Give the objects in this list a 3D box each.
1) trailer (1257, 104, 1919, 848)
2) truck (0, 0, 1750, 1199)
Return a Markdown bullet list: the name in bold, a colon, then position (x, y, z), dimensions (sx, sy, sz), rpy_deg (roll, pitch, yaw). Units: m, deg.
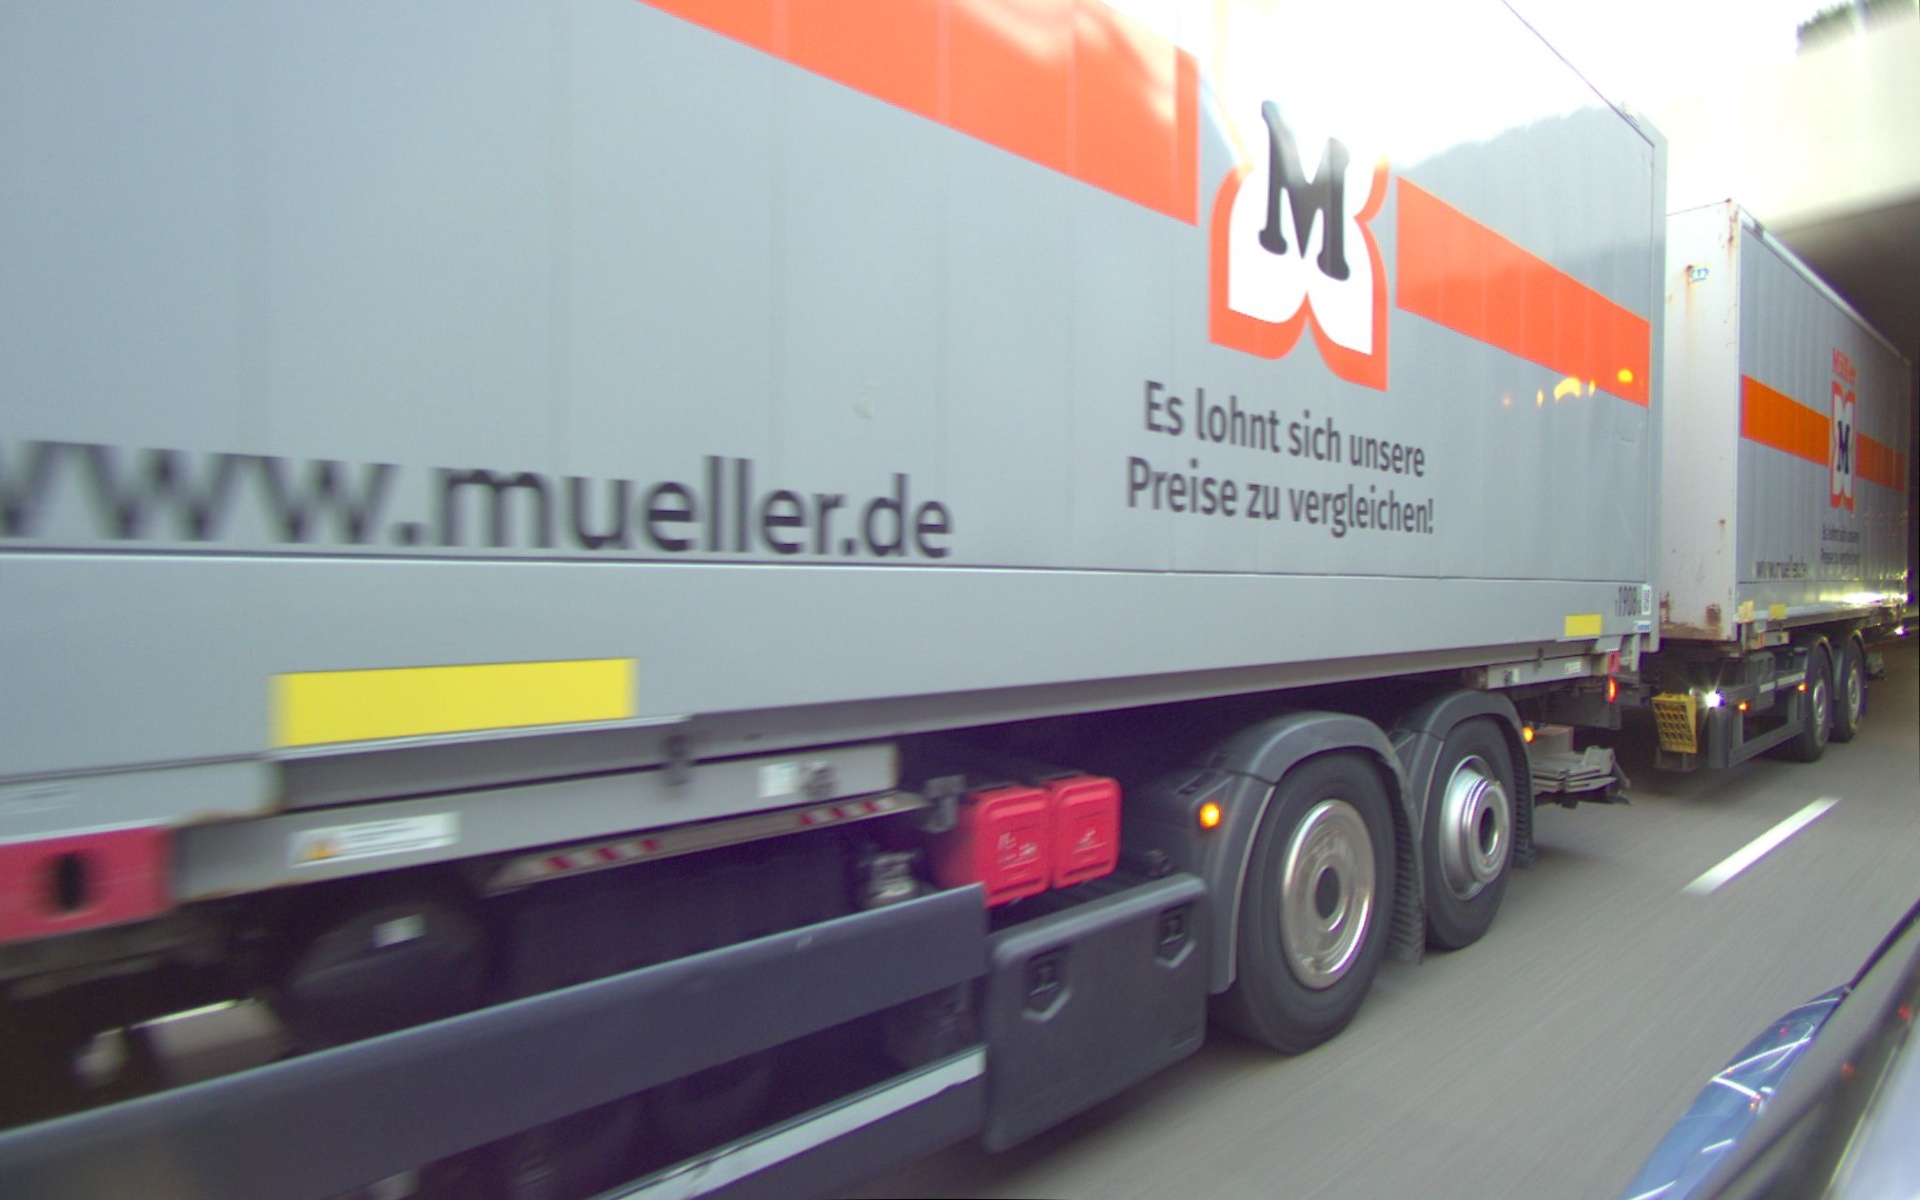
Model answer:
- **trailer**: position (6.501, -0.692, 9.273), dimensions (8.790, 3.907, 2.880), rpy_deg (-1, 0, -40)
- **truck**: position (-0.507, -0.606, 3.269), dimensions (9.734, 3.963, 2.894), rpy_deg (-1, 0, -40)
